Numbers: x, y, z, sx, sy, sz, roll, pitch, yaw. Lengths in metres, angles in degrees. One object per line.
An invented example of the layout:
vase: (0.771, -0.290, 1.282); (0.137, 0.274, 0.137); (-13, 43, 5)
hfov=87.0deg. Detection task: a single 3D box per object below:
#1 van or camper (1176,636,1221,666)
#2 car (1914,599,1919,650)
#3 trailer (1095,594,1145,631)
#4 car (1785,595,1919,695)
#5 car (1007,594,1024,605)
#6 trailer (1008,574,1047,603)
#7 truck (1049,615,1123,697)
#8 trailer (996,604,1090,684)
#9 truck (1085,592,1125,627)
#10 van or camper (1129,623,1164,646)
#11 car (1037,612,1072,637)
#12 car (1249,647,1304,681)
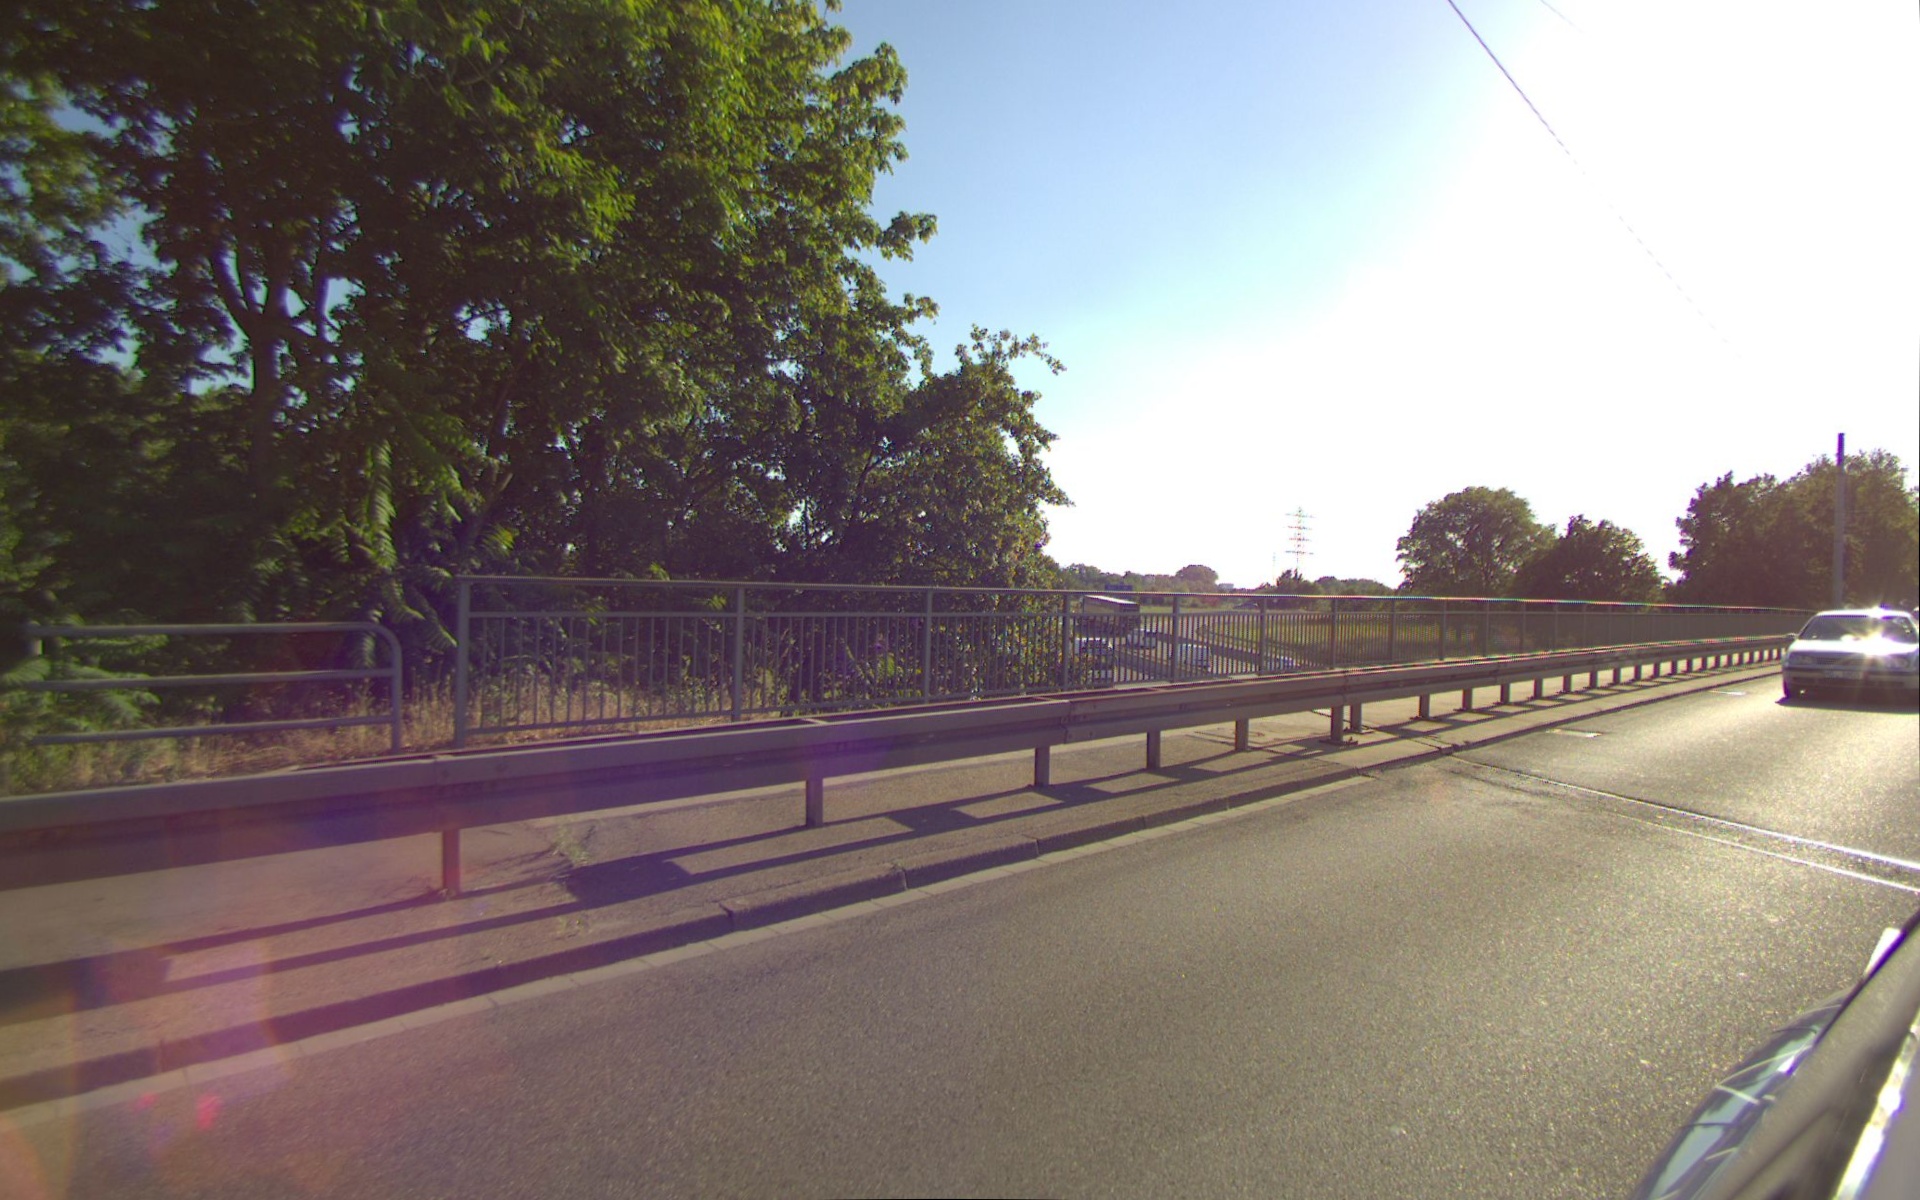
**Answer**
van or camper: (19.964, 4.252, 84.906); (1.953, 1.989, 4.825); (0, 3, -10)
car: (31.038, 0.755, 31.454); (3.778, 1.540, 1.707); (0, 0, -42)
trailer: (19.400, 1.407, 123.543); (2.992, 3.902, 9.394); (-1, 3, -11)
car: (15.062, 0.652, 16.656); (4.064, 1.435, 1.691); (0, 1, -42)
car: (8.722, -0.137, 159.235); (1.849, 1.534, 4.074); (0, 2, -9)
trailer: (11.056, -1.963, 167.672); (3.239, 4.326, 11.579); (3, 2, -11)
truck: (8.141, 3.520, 66.297); (2.677, 4.668, 7.247); (0, 2, -11)
trailer: (6.009, 3.009, 77.656); (2.676, 4.643, 17.016); (0, 2, -11)
truck: (18.387, 1.164, 128.737); (2.992, 3.929, 6.621); (-1, 3, -11)
van or camper: (19.429, 3.562, 105.490); (1.953, 1.989, 4.825); (0, 3, -10)
car: (9.216, 2.358, 99.213); (2.022, 1.989, 4.965); (0, 3, -12)
car: (24.073, 4.841, 77.256); (1.953, 1.989, 4.825); (0, 3, -10)
